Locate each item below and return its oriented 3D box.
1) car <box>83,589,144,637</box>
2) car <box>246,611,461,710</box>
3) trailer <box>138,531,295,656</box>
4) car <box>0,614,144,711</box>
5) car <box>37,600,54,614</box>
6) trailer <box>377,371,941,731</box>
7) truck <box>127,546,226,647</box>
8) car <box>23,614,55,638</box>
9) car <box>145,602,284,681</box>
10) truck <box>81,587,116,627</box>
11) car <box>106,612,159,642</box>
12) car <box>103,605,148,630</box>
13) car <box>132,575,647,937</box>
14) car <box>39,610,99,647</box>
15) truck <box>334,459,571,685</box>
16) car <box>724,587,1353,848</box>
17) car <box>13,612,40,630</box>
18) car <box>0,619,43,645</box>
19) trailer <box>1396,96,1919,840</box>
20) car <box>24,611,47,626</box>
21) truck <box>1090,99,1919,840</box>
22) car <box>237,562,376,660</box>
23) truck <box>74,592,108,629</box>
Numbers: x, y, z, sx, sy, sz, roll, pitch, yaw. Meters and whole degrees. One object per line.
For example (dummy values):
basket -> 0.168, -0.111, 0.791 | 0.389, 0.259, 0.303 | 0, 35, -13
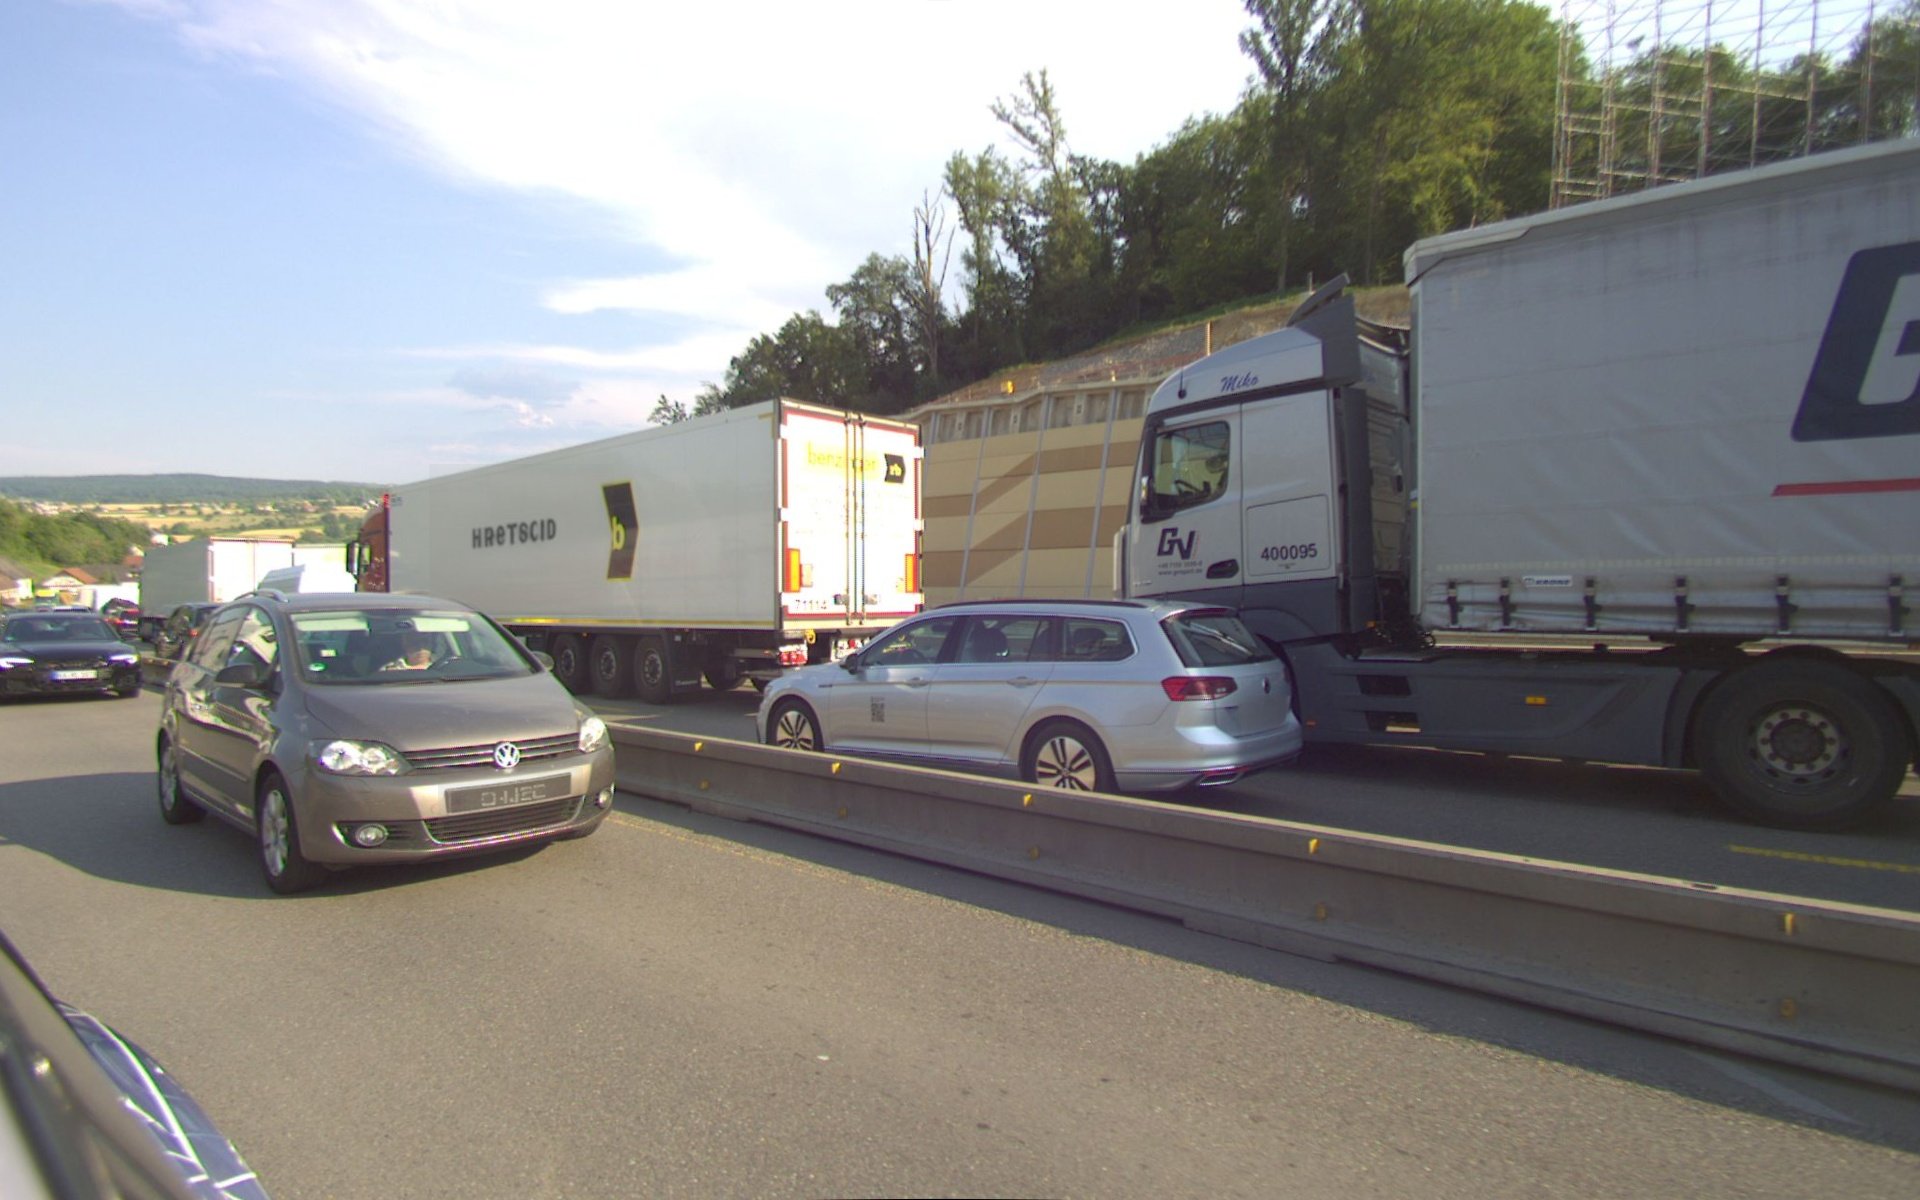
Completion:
car -> -55.236, 0.827, 65.967 | 7.636, 2.940, 2.308 | 0, -1, 45
car -> -10.427, 0.932, 17.232 | 4.889, 1.388, 1.713 | -1, 1, 42
trailer -> -29.980, -0.179, 40.385 | 13.751, 4.250, 2.691 | -1, 0, 44
car -> -15.330, 0.959, 17.093 | 4.000, 1.409, 1.842 | 0, -1, 43
car -> -144.133, 1.142, 159.519 | 1.796, 2.015, 4.759 | 2, -3, -44
trailer -> -6.344, -0.558, 17.942 | 13.877, 4.366, 2.737 | -1, 0, 42
truck -> -35.069, -0.130, 45.233 | 5.683, 4.250, 2.683 | -1, 0, 43
car -> -73.150, 2.073, 80.340 | 1.783, 1.785, 5.457 | -1, -1, -43
car -> -17.525, 0.906, 23.697 | 4.862, 1.670, 1.733 | -1, -1, 43
truck -> -93.756, 0.726, 110.061 | 2.674, 4.119, 14.174 | 1, -1, -41
car -> -43.249, 1.382, 52.867 | 1.723, 1.471, 4.716 | 0, -1, -45
car -> -49.740, 1.005, 60.266 | 1.728, 1.433, 4.613 | -1, 1, -44
car -> -3.825, 0.688, 6.436 | 4.099, 1.585, 1.665 | -1, 0, 43
car -> -41.035, 1.297, 46.571 | 1.847, 1.601, 4.807 | 0, 0, -44
truck -> -11.373, -0.522, 22.449 | 5.932, 4.332, 2.716 | -1, 0, 42
car -> 0.321, 0.703, 7.880 | 4.836, 1.450, 1.714 | -1, -2, 41
car -> -90.350, 2.044, 97.971 | 1.796, 1.591, 4.759 | 2, -3, -44
car -> -60.012, 2.043, 64.774 | 1.865, 1.580, 4.461 | -2, 0, -42
trailer -> 9.422, -0.773, 4.006 | 13.958, 4.172, 2.770 | -1, 0, 41
car -> -106.143, 2.114, 116.160 | 1.796, 1.591, 4.759 | 2, -3, -44
truck -> 4.340, -0.723, 8.449 | 5.930, 4.172, 2.759 | -1, 0, 41
car -> -20.105, 0.396, 30.949 | 6.950, 2.710, 1.999 | -3, -1, 44
truck -> -84.801, 1.065, 98.871 | 2.416, 3.489, 7.629 | 0, -1, -40
